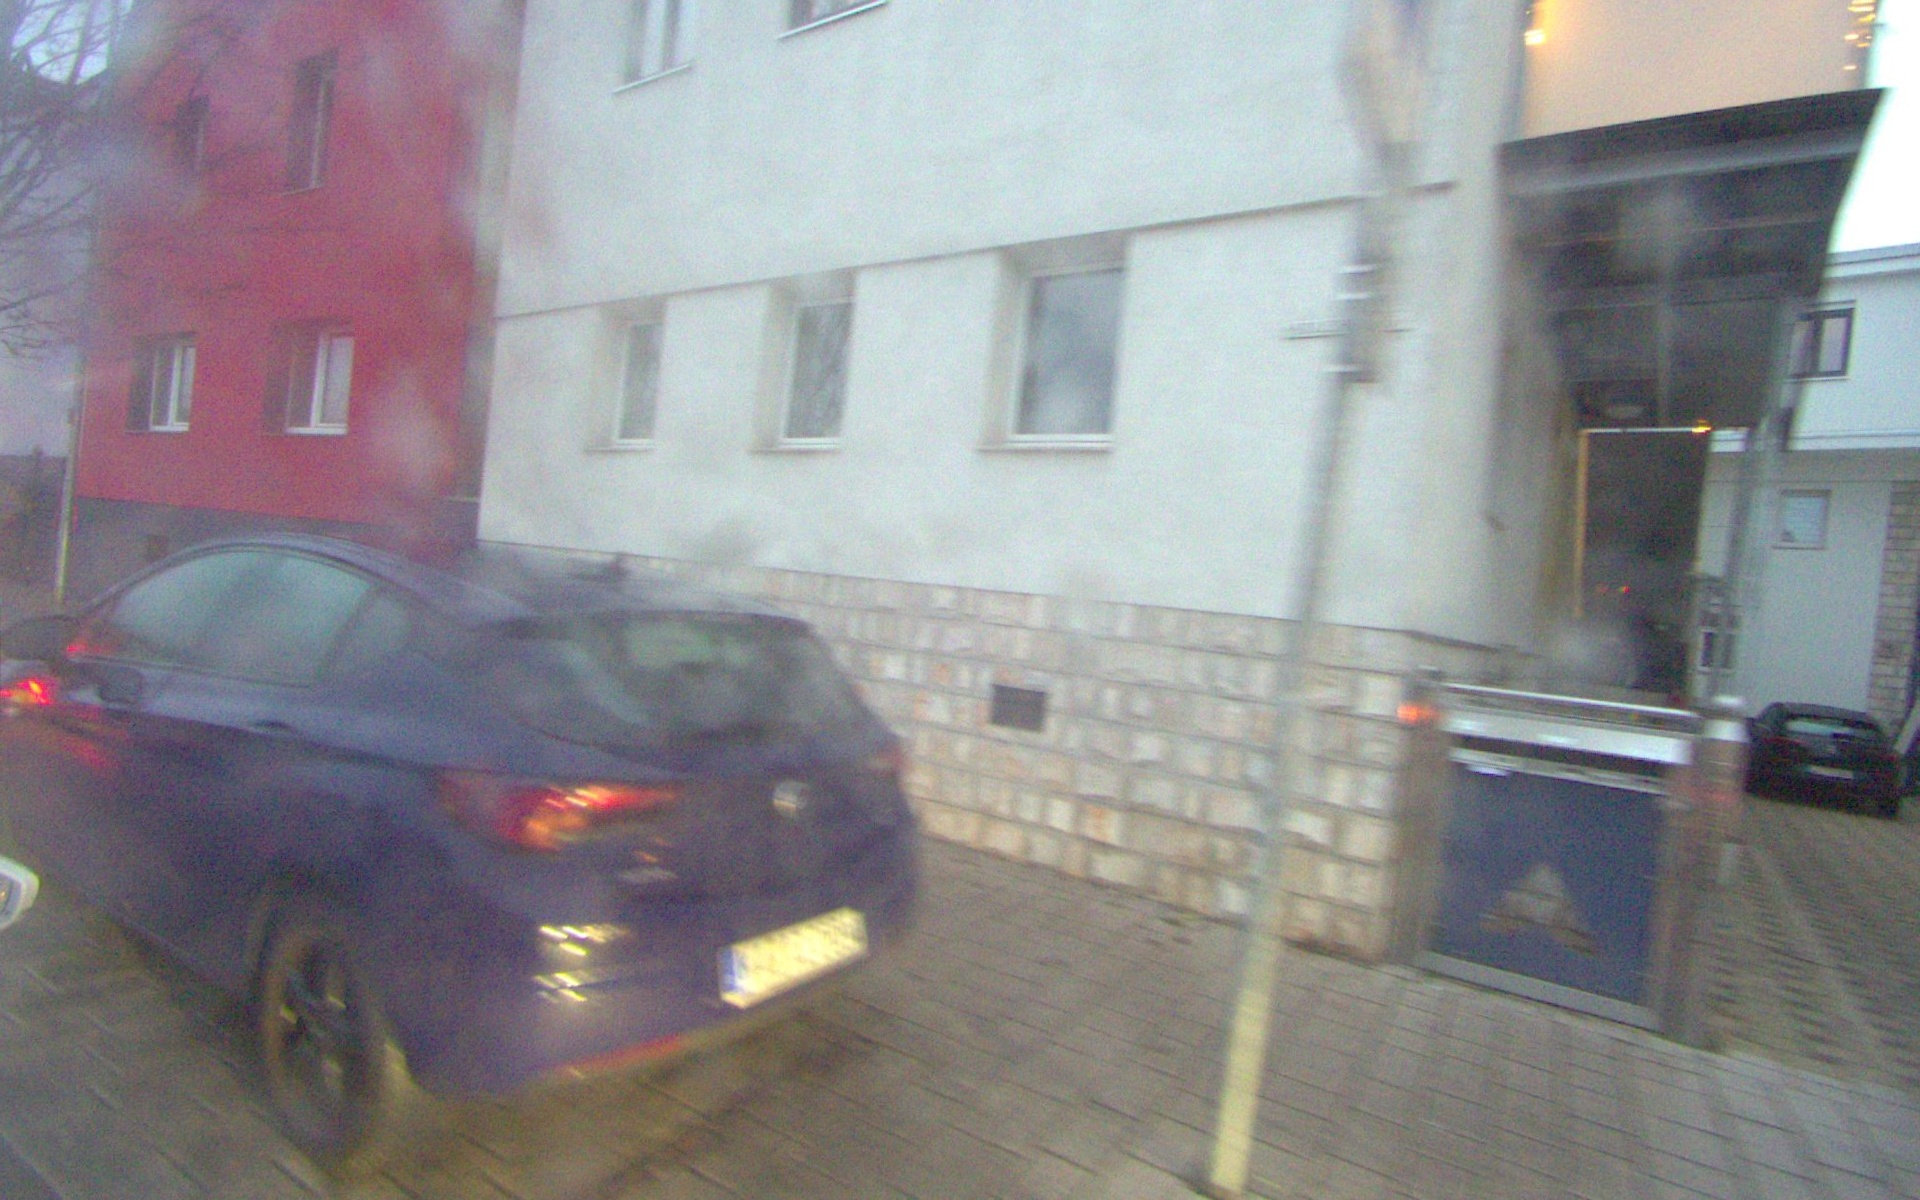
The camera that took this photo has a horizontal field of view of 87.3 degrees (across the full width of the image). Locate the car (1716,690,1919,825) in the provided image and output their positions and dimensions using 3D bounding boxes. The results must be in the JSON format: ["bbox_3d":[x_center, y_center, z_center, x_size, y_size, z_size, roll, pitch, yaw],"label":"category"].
[{"bbox_3d":[13.395,2.348,15.895,1.906,1.434,3.950,9,2,34],"label":"car"}]

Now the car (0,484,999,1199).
[{"bbox_3d":[-2.117,0.473,3.725,4.131,1.484,1.727,7,3,34],"label":"car"}]
